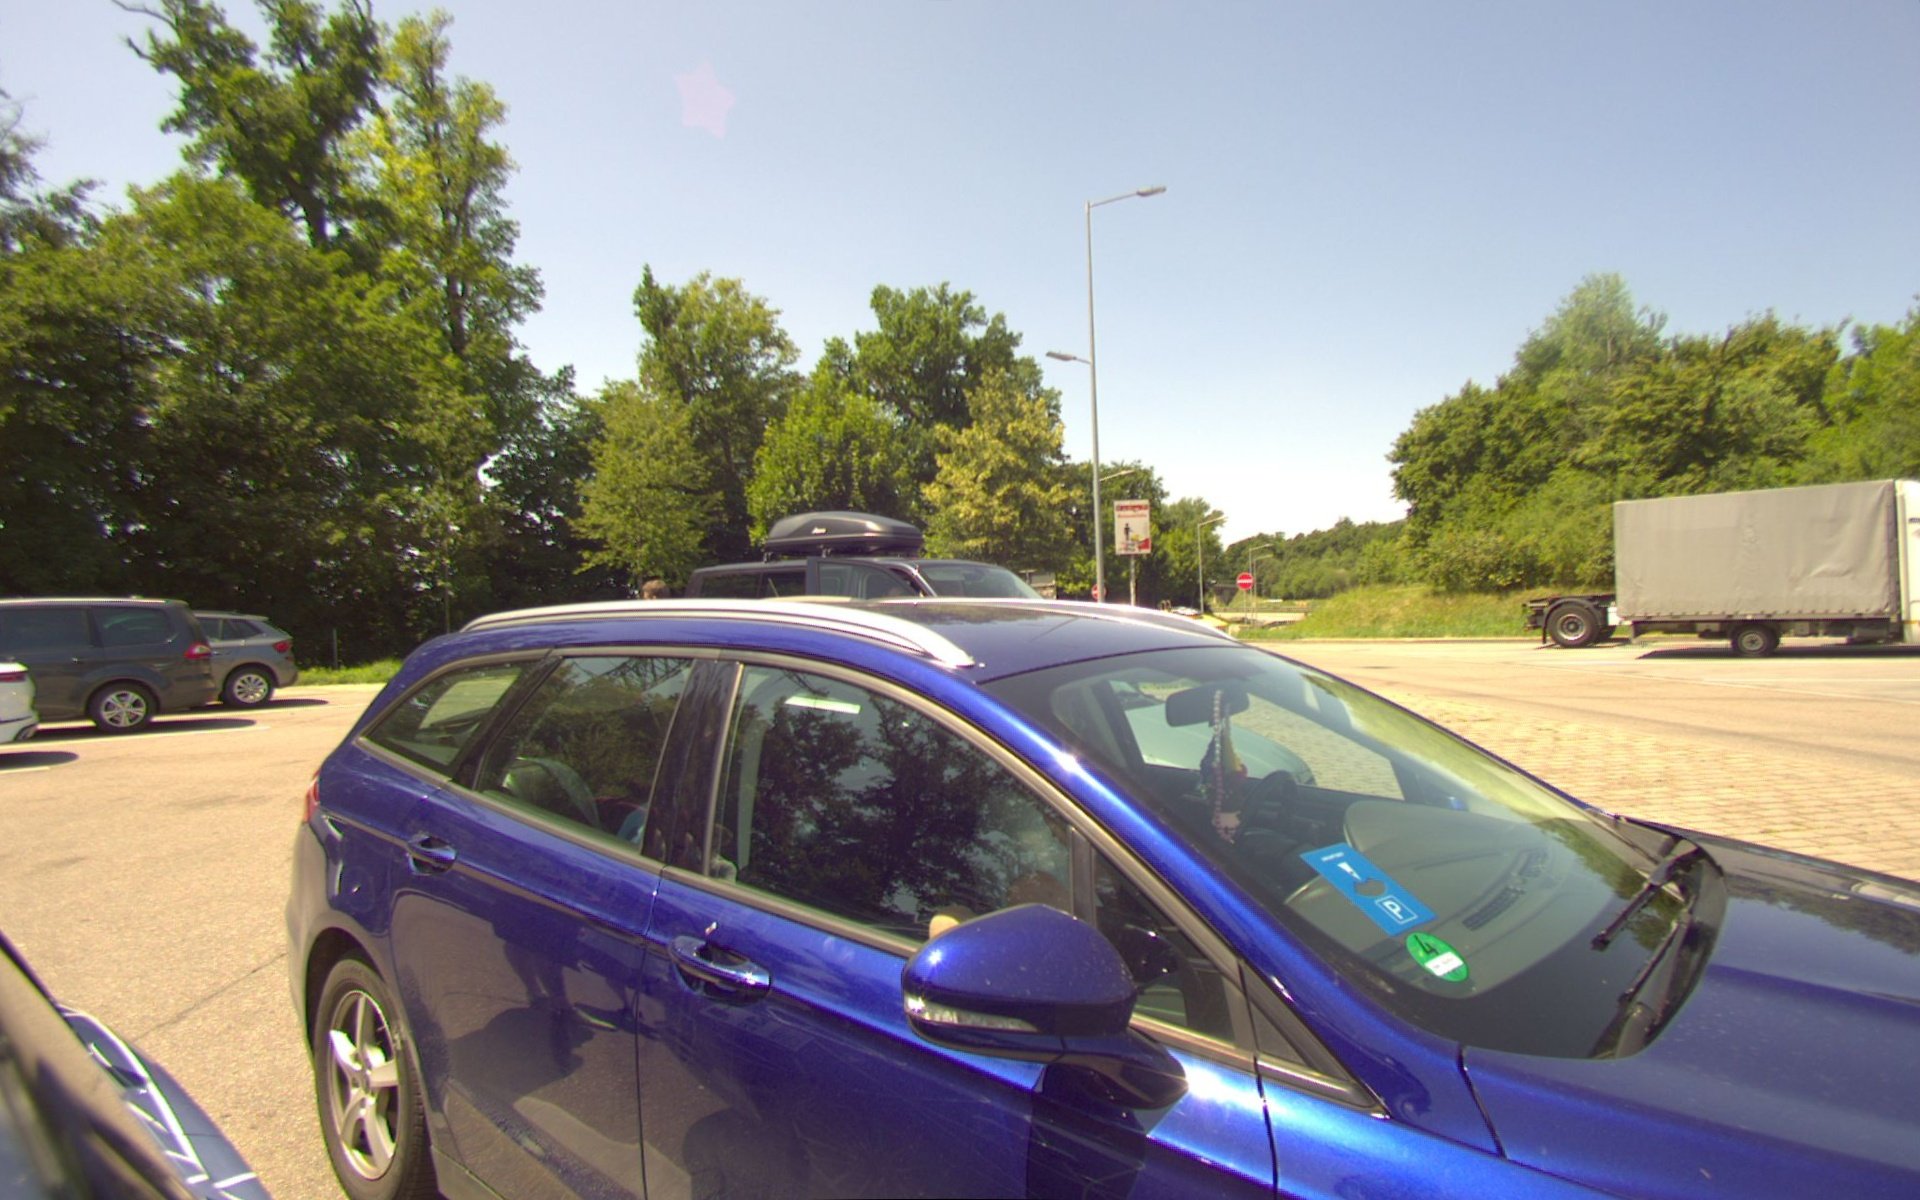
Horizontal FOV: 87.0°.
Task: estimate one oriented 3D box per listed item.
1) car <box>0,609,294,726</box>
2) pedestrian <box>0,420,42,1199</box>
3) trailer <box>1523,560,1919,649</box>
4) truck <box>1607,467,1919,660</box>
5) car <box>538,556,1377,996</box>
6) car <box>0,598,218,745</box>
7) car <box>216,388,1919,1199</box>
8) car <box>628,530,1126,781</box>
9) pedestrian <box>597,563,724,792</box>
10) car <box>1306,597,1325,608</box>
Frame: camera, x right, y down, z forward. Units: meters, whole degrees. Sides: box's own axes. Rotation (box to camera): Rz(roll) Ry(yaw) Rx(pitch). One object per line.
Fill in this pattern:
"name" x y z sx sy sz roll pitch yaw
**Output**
"car" -12.641 0.966 15.677 3.767 1.572 1.654 -1 0 -38
"pedestrian" -2.746 0.519 2.256 0.905 1.919 0.816 -1 0 -33
"trailer" 17.688 0.158 23.121 8.098 1.638 2.187 -4 -1 41
"truck" 16.764 -0.647 19.024 7.274 3.269 2.678 -4 -1 42
"car" -0.340 0.668 5.623 4.569 1.517 1.735 -3 0 40
"car" -11.649 0.862 12.670 3.767 1.708 1.654 -1 0 -38
"car" 0.215 0.633 2.087 4.569 1.482 1.735 -3 0 40
"car" -0.910 0.496 9.672 4.558 1.912 1.740 -3 0 32
"pedestrian" -2.475 0.599 8.358 0.772 1.767 0.757 -1 0 -37
"car" 67.164 0.518 191.295 1.971 2.029 4.002 -1 0 -2
